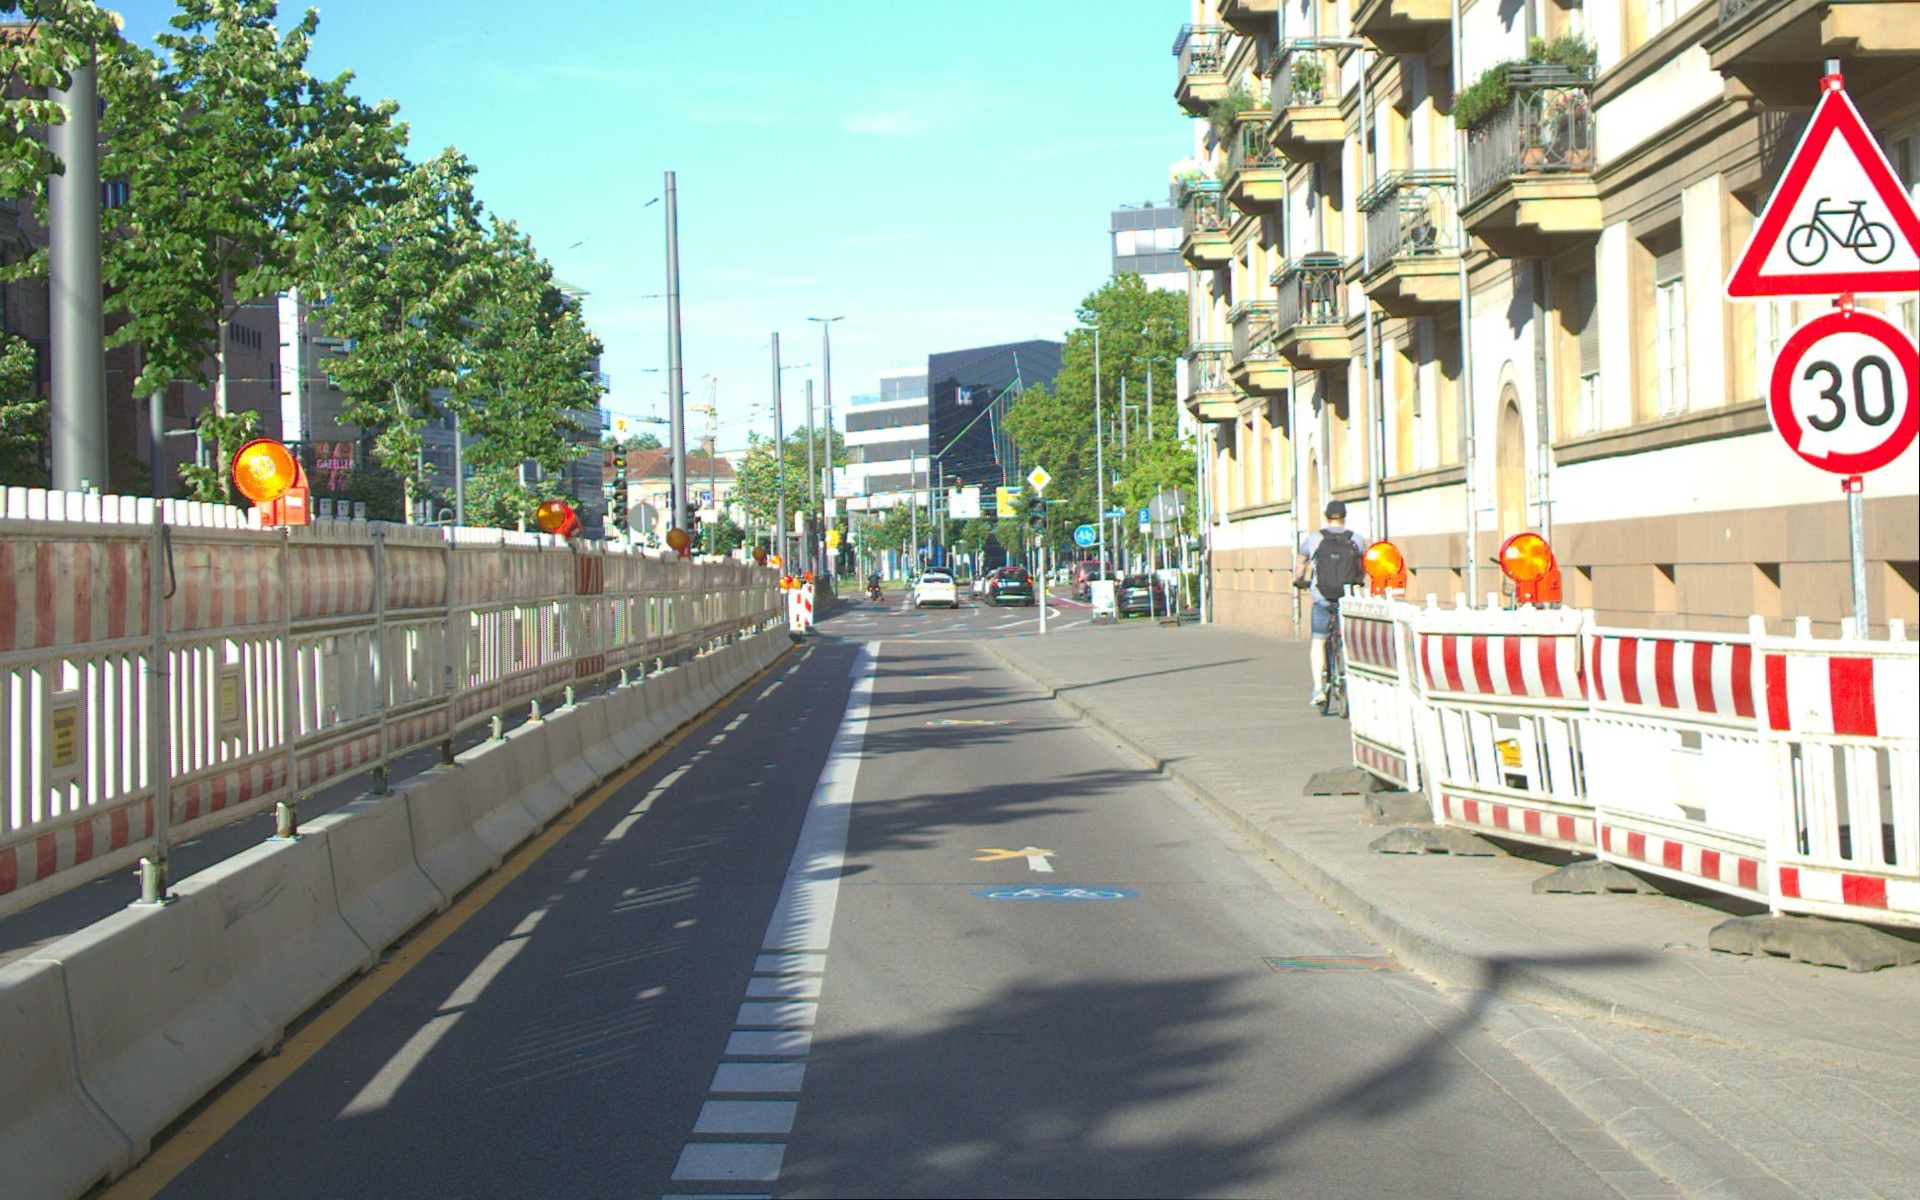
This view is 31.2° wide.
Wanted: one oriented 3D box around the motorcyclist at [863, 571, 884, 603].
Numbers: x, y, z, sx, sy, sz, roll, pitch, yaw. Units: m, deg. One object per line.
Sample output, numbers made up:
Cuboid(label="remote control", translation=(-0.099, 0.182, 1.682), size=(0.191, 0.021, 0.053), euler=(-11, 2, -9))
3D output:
Cuboid(label="motorcyclist", translation=(-4.366, -0.645, 173.013), size=(1.019, 1.598, 1.148), euler=(1, 0, 0))

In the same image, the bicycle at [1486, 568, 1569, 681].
Cuboid(label="bicycle", translation=(5.674, 0.233, 34.435), size=(0.418, 1.092, 2.198), euler=(-1, 0, -1))

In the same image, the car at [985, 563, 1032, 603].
Cuboid(label="car", translation=(2.157, -0.757, 152.933), size=(1.975, 1.753, 4.632), euler=(1, 0, 0))

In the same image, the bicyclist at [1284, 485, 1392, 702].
Cuboid(label="bicyclist", translation=(3.138, -0.056, 28.608), size=(0.733, 1.757, 0.938), euler=(-1, 0, -1))

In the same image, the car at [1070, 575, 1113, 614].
Cuboid(label="car", translation=(6.296, -0.279, 164.732), size=(1.846, 1.555, 4.634), euler=(1, 4, 0))

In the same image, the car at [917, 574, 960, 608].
Cuboid(label="car", translation=(-0.948, -0.394, 146.725), size=(1.780, 1.409, 4.819), euler=(1, 0, -1))

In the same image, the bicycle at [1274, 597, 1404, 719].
Cuboid(label="bicycle", translation=(3.139, 0.463, 28.667), size=(0.767, 0.950, 2.198), euler=(-1, 0, -1))

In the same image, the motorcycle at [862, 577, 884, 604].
Cuboid(label="motorcycle", translation=(-4.362, -0.471, 172.906), size=(1.019, 1.307, 2.914), euler=(1, 0, 0))

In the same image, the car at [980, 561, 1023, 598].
Cuboid(label="car", translation=(1.938, -0.958, 160.462), size=(1.851, 1.634, 4.379), euler=(0, -1, -1))

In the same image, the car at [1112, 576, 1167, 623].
Cuboid(label="car", translation=(6.490, -0.035, 123.814), size=(1.721, 1.631, 4.230), euler=(-2, 0, 6))

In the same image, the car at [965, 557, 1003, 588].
Cuboid(label="car", translation=(1.247, -1.435, 177.587), size=(1.851, 1.492, 4.379), euler=(-1, 1, -1))
